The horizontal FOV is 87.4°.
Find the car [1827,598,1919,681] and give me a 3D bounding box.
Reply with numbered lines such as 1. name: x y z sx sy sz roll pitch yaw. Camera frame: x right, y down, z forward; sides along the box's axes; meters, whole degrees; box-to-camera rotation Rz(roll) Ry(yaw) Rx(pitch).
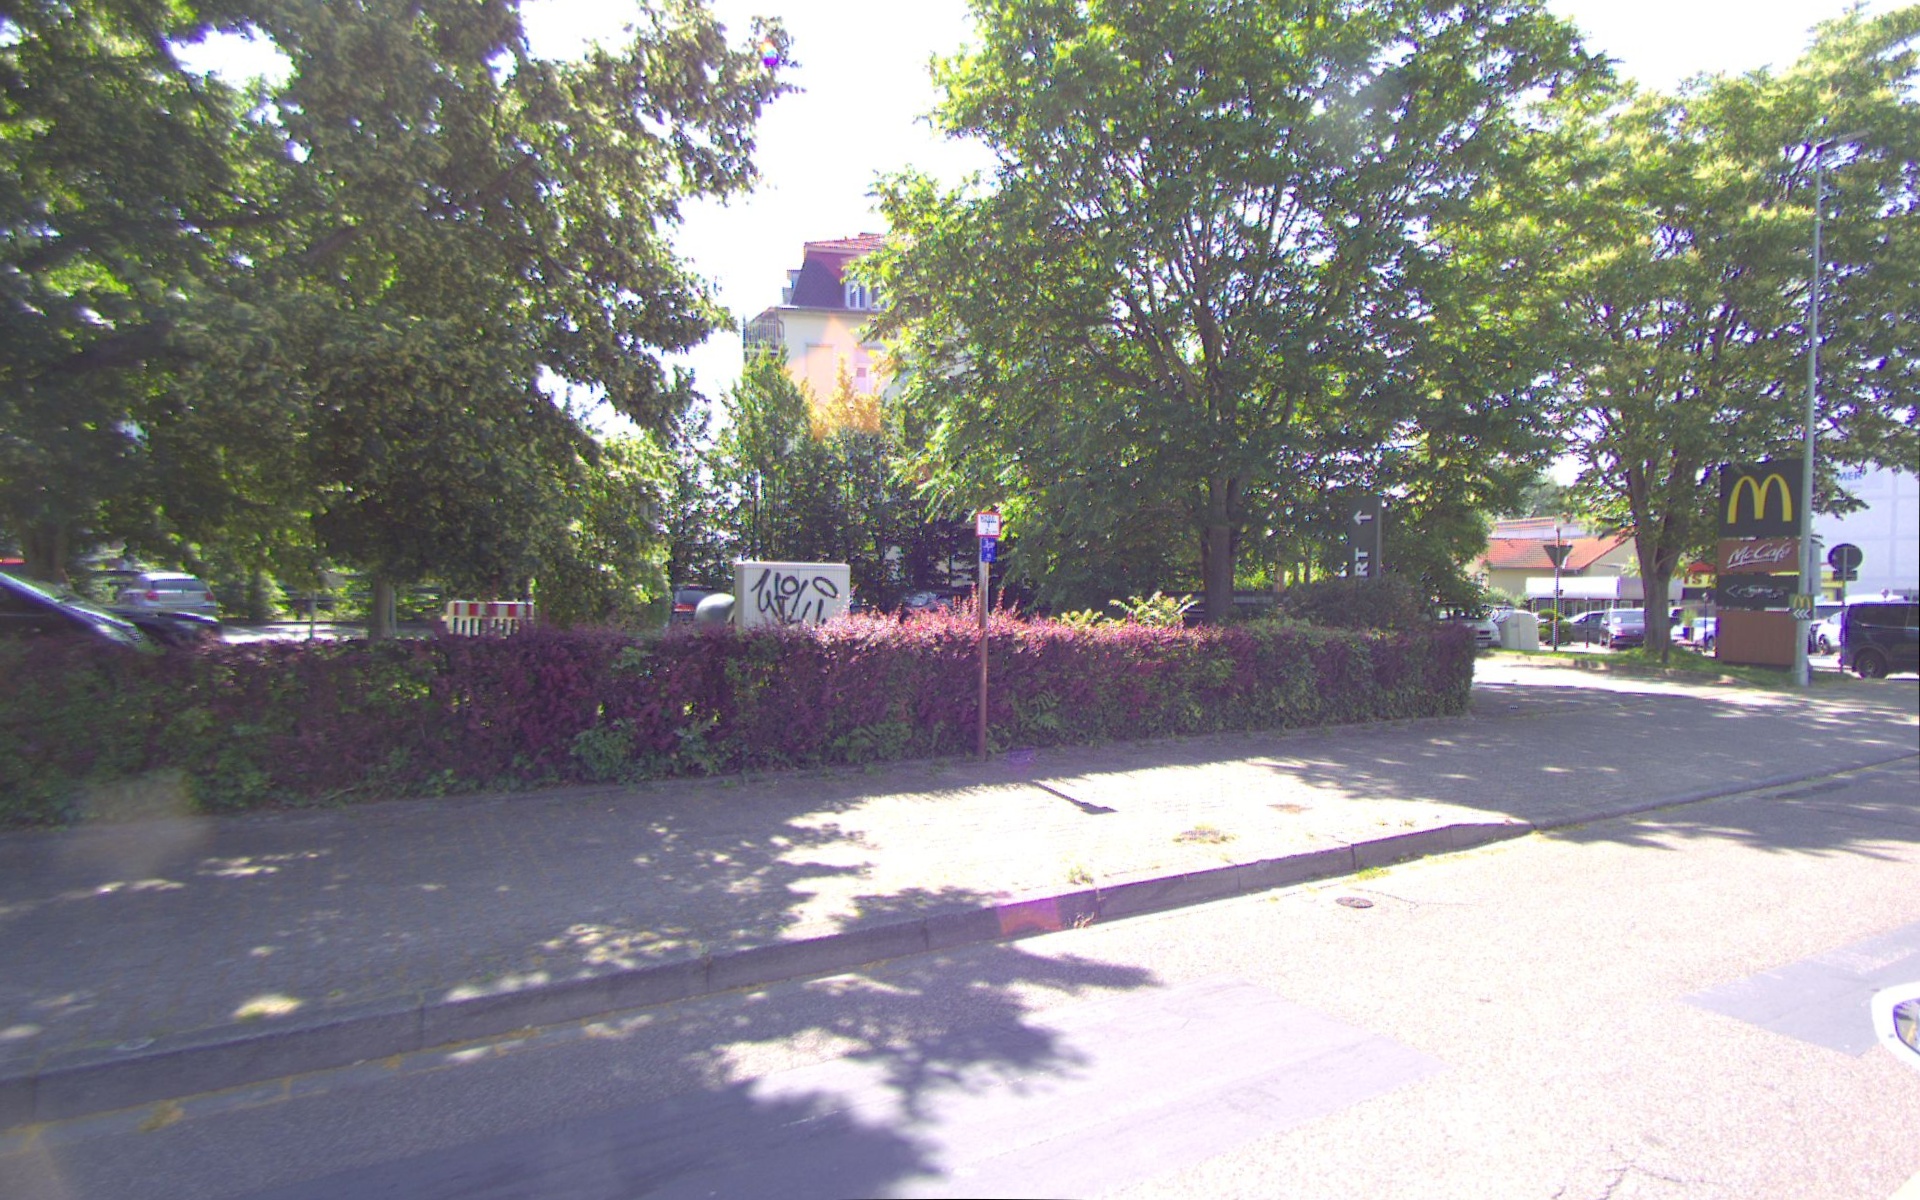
1. car: 23.752 0.951 23.387 1.964 1.961 5.373 1 0 -9

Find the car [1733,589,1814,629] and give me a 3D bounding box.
1. car: 41.415 0.447 51.241 1.961 1.929 3.999 1 1 20

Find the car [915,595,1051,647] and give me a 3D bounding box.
1. car: 0.627 0.549 27.189 3.399 1.317 1.469 1 0 -22

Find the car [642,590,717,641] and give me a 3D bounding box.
1. car: -7.955 0.396 28.317 1.612 1.317 3.586 0 0 -23

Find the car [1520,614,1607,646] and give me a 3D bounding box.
1. car: 29.805 1.453 49.664 3.623 1.440 1.569 2 1 32

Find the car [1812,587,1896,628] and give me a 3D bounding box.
1. car: 45.548 0.347 51.278 1.793 1.955 3.999 1 1 20

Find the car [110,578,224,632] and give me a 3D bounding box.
1. car: -21.500 0.100 27.180 3.938 1.356 1.579 1 0 38

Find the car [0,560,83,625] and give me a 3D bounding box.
1. car: -24.739 -0.205 26.918 1.784 1.619 3.953 0 0 -40

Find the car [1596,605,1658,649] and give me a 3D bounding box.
1. car: 28.561 1.112 43.127 1.965 1.751 3.992 1 0 30

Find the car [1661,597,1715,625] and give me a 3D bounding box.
1. car: 38.896 0.569 53.744 1.542 1.440 3.685 2 1 23

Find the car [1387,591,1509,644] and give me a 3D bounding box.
1. car: 15.283 0.503 31.721 1.785 1.553 3.999 1 0 -2

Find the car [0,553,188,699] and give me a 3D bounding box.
1. car: -11.430 0.275 11.661 3.713 1.624 1.673 0 0 -31

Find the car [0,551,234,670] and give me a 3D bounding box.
1. car: -12.853 0.128 13.701 4.601 1.530 1.774 1 0 -31
